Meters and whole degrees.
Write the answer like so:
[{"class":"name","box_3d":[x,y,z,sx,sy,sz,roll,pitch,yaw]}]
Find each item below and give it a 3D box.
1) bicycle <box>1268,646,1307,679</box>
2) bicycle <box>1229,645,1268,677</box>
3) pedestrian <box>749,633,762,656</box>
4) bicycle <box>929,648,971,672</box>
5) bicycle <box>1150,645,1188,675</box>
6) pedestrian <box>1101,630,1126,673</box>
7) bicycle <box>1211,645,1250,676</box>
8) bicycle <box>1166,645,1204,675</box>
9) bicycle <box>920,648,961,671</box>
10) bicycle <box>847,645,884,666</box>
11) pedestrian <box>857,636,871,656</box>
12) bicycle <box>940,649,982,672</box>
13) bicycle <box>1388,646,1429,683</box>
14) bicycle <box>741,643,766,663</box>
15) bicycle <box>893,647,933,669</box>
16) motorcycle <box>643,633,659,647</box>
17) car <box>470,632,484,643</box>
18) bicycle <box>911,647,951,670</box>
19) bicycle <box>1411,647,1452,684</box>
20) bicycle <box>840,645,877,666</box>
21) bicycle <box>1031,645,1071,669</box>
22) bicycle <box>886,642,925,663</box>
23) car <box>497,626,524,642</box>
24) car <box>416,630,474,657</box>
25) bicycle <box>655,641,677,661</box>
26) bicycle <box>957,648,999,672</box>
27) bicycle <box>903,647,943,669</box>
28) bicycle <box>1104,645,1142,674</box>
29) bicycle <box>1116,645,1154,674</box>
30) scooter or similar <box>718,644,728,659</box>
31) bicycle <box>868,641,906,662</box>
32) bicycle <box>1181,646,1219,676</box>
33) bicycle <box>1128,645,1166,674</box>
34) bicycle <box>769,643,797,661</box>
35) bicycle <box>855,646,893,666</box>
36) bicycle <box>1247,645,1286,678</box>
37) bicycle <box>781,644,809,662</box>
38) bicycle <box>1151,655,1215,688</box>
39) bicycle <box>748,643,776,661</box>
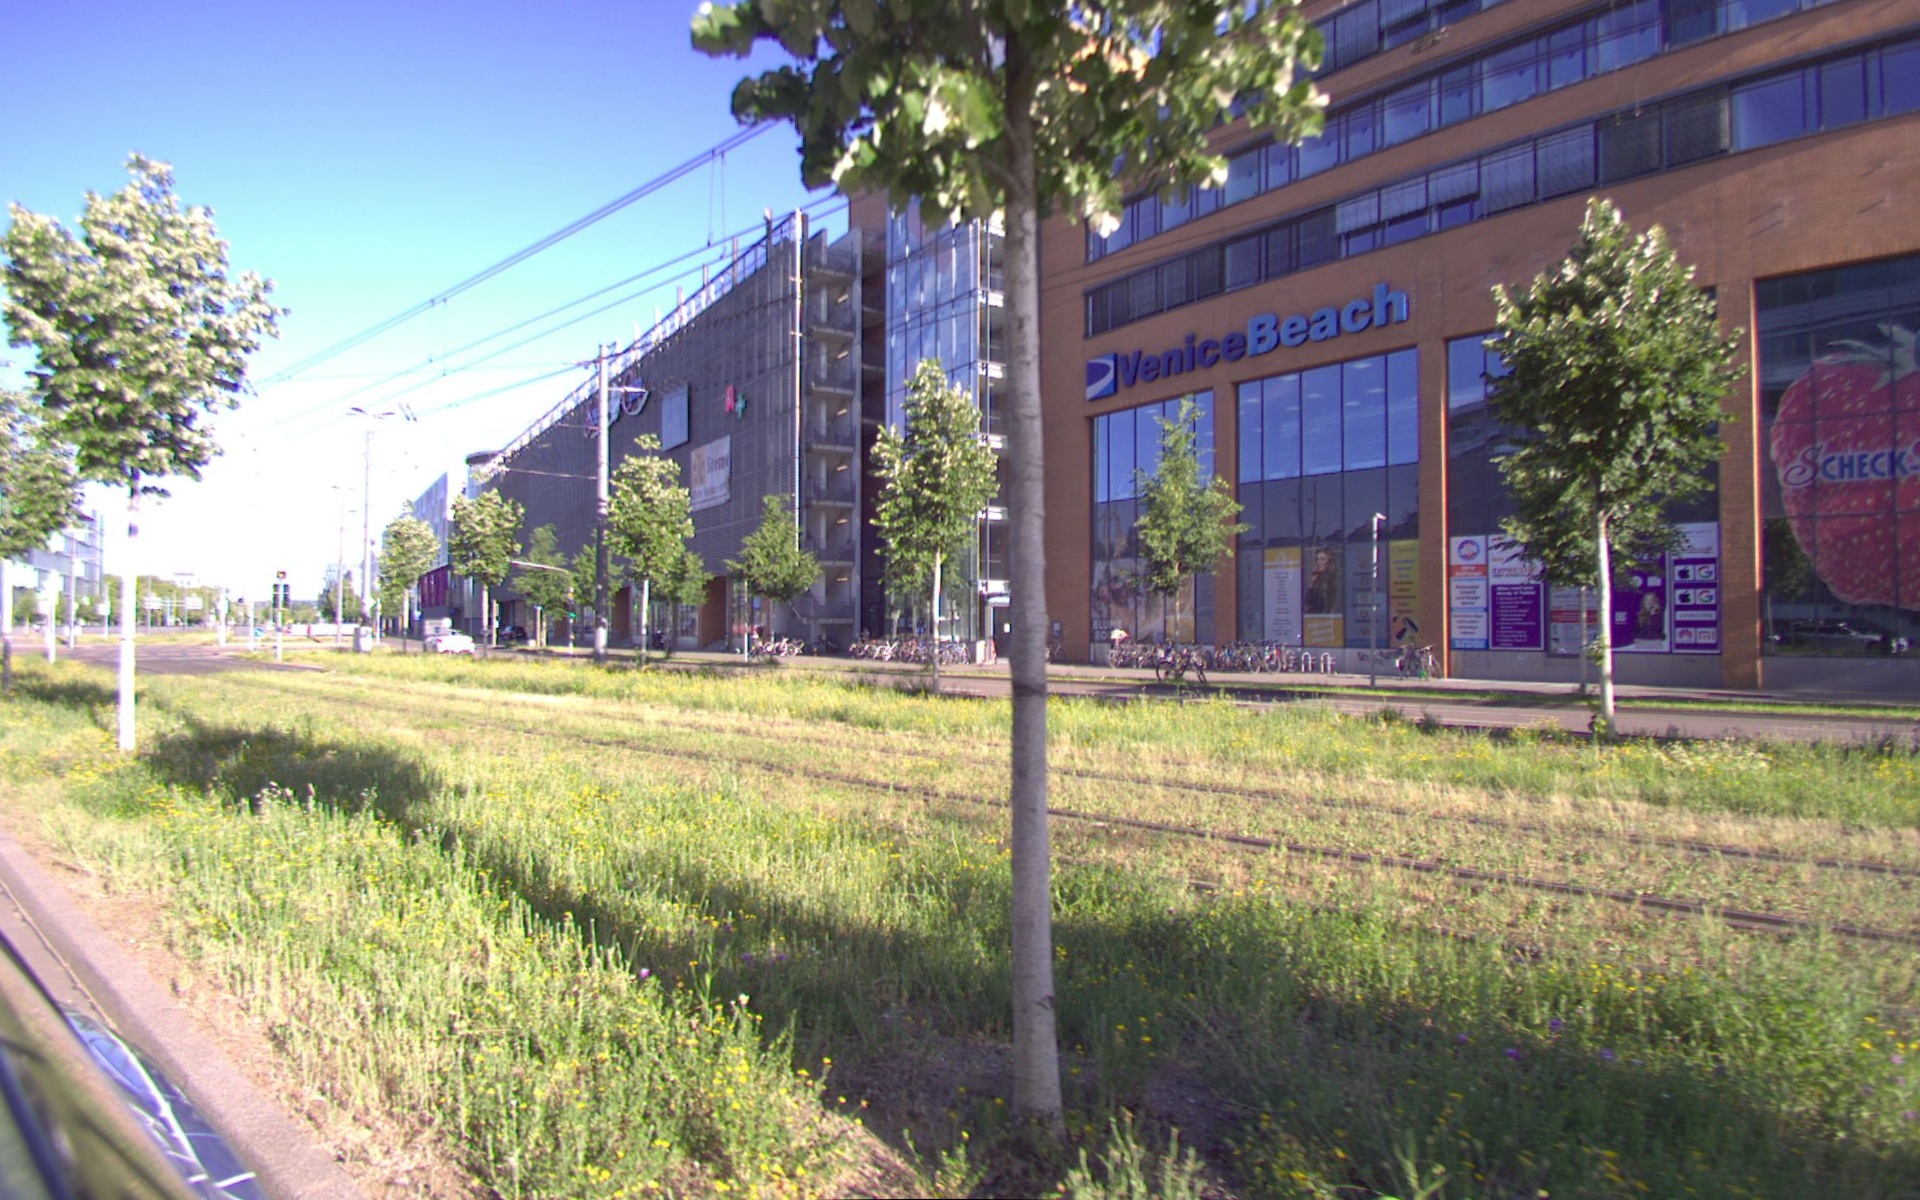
[{"class":"bicycle","box_3d":[11.029,2.080,34.061,1.745,1.057,0.491,1,-2,-44]},{"class":"bicycle","box_3d":[10.020,2.102,35.123,1.745,1.057,0.491,1,-2,-44]},{"class":"pedestrian","box_3d":[-11.257,2.444,55.781,0.442,1.299,0.631,1,-2,-38]},{"class":"bicycle","box_3d":[-0.418,2.527,42.846,1.742,0.933,0.566,1,-2,-35]},{"class":"bicycle","box_3d":[7.809,2.218,37.705,1.745,1.057,0.491,1,-2,-44]},{"class":"pedestrian","box_3d":[6.020,2.003,39.687,0.676,1.681,0.736,-2,-2,45]},{"class":"bicycle","box_3d":[9.544,2.112,35.625,1.745,1.057,0.491,1,-2,-44]},{"class":"bicycle","box_3d":[8.287,2.208,37.227,1.745,1.057,0.491,1,-2,-44]},{"class":"bicycle","box_3d":[-0.818,2.537,43.444,1.742,0.933,0.566,1,-2,-35]},{"class":"bicycle","box_3d":[-4.519,2.647,48.396,1.742,0.933,0.492,1,-2,-35]},{"class":"pedestrian","box_3d":[-5.104,2.443,53.837,0.620,1.063,0.450,1,-2,-39]},{"class":"bicycle","box_3d":[0.032,2.515,42.165,1.742,0.933,0.566,1,-2,-35]},{"class":"bicycle","box_3d":[13.647,1.952,30.764,1.745,1.057,0.491,1,-2,-44]},{"class":"bicycle","box_3d":[-9.668,2.475,47.264,0.380,0.875,1.775,1,-2,-38]},{"class":"bicycle","box_3d":[-2.081,2.568,45.154,1.742,0.933,0.566,1,-2,-35]},{"class":"motorcycle","box_3d":[-20.865,2.675,68.259,0.421,0.927,2.029,1,-2,-35]},{"class":"car","box_3d":[-62.205,4.857,130.361,1.663,1.382,3.602,1,-2,-26]},{"class":"bicycle","box_3d":[-1.254,2.547,44.006,1.742,0.933,0.566,1,-2,-35]},{"class":"bicycle","box_3d":[14.127,1.941,30.309,1.745,1.057,0.491,1,-2,-44]},{"class":"bicycle","box_3d":[-4.894,2.671,48.924,1.742,0.933,0.492,1,-2,-35]},{"class":"bicycle","box_3d":[3.831,2.392,42.526,1.742,0.933,0.566,1,-2,-35]},{"class":"bicycle","box_3d":[-2.453,2.373,45.742,1.742,0.933,0.492,1,-2,-35]},{"class":"car","box_3d":[-45.862,3.483,103.169,1.560,1.541,3.757,0,-1,-39]},{"class":"car","box_3d":[-26.480,2.221,51.945,1.783,1.338,4.413,2,-2,-38]},{"class":"bicycle","box_3d":[-14.445,2.514,49.711,0.380,0.930,1.775,1,-2,-38]},{"class":"bicycle","box_3d":[0.748,2.459,41.375,1.742,0.933,0.566,1,-2,-35]},{"class":"bicycle","box_3d":[-1.627,2.557,44.546,1.742,0.933,0.566,1,-2,-35]},{"class":"bicycle","box_3d":[6.316,2.295,39.221,1.745,1.057,0.491,1,-2,-44]},{"class":"bicycle","box_3d":[6.706,2.286,38.789,1.745,1.057,0.491,1,-2,-44]},{"class":"scooter or similar","box_3d":[-14.216,3.066,60.608,0.286,0.900,0.903,1,-2,-34]},{"class":"bicycle","box_3d":[-3.360,2.375,46.856,1.742,0.933,0.492,1,-2,-35]},{"class":"bicycle","box_3d":[8.691,2.198,36.605,1.745,1.057,0.491,1,-2,-44]},{"class":"bicycle","box_3d":[7.100,2.234,38.388,1.745,1.057,0.491,1,-2,-44]},{"class":"bicycle","box_3d":[-9.375,2.753,53.550,1.377,0.933,0.463,1,-2,-35]},{"class":"bicycle","box_3d":[-4.078,2.636,47.847,1.742,0.933,0.566,1,-2,-35]},{"class":"bicycle","box_3d":[10.485,2.091,34.574,1.745,1.057,0.491,1,-2,-44]},{"class":"bicycle","box_3d":[-8.538,2.732,52.383,1.377,0.933,0.463,1,-2,-35]},{"class":"bicycle","box_3d":[6.310,2.008,28.713,1.769,0.875,0.458,-1,-2,40]},{"class":"bicycle","box_3d":[-10.608,2.775,54.207,1.377,0.933,0.463,1,-2,-35]}]
